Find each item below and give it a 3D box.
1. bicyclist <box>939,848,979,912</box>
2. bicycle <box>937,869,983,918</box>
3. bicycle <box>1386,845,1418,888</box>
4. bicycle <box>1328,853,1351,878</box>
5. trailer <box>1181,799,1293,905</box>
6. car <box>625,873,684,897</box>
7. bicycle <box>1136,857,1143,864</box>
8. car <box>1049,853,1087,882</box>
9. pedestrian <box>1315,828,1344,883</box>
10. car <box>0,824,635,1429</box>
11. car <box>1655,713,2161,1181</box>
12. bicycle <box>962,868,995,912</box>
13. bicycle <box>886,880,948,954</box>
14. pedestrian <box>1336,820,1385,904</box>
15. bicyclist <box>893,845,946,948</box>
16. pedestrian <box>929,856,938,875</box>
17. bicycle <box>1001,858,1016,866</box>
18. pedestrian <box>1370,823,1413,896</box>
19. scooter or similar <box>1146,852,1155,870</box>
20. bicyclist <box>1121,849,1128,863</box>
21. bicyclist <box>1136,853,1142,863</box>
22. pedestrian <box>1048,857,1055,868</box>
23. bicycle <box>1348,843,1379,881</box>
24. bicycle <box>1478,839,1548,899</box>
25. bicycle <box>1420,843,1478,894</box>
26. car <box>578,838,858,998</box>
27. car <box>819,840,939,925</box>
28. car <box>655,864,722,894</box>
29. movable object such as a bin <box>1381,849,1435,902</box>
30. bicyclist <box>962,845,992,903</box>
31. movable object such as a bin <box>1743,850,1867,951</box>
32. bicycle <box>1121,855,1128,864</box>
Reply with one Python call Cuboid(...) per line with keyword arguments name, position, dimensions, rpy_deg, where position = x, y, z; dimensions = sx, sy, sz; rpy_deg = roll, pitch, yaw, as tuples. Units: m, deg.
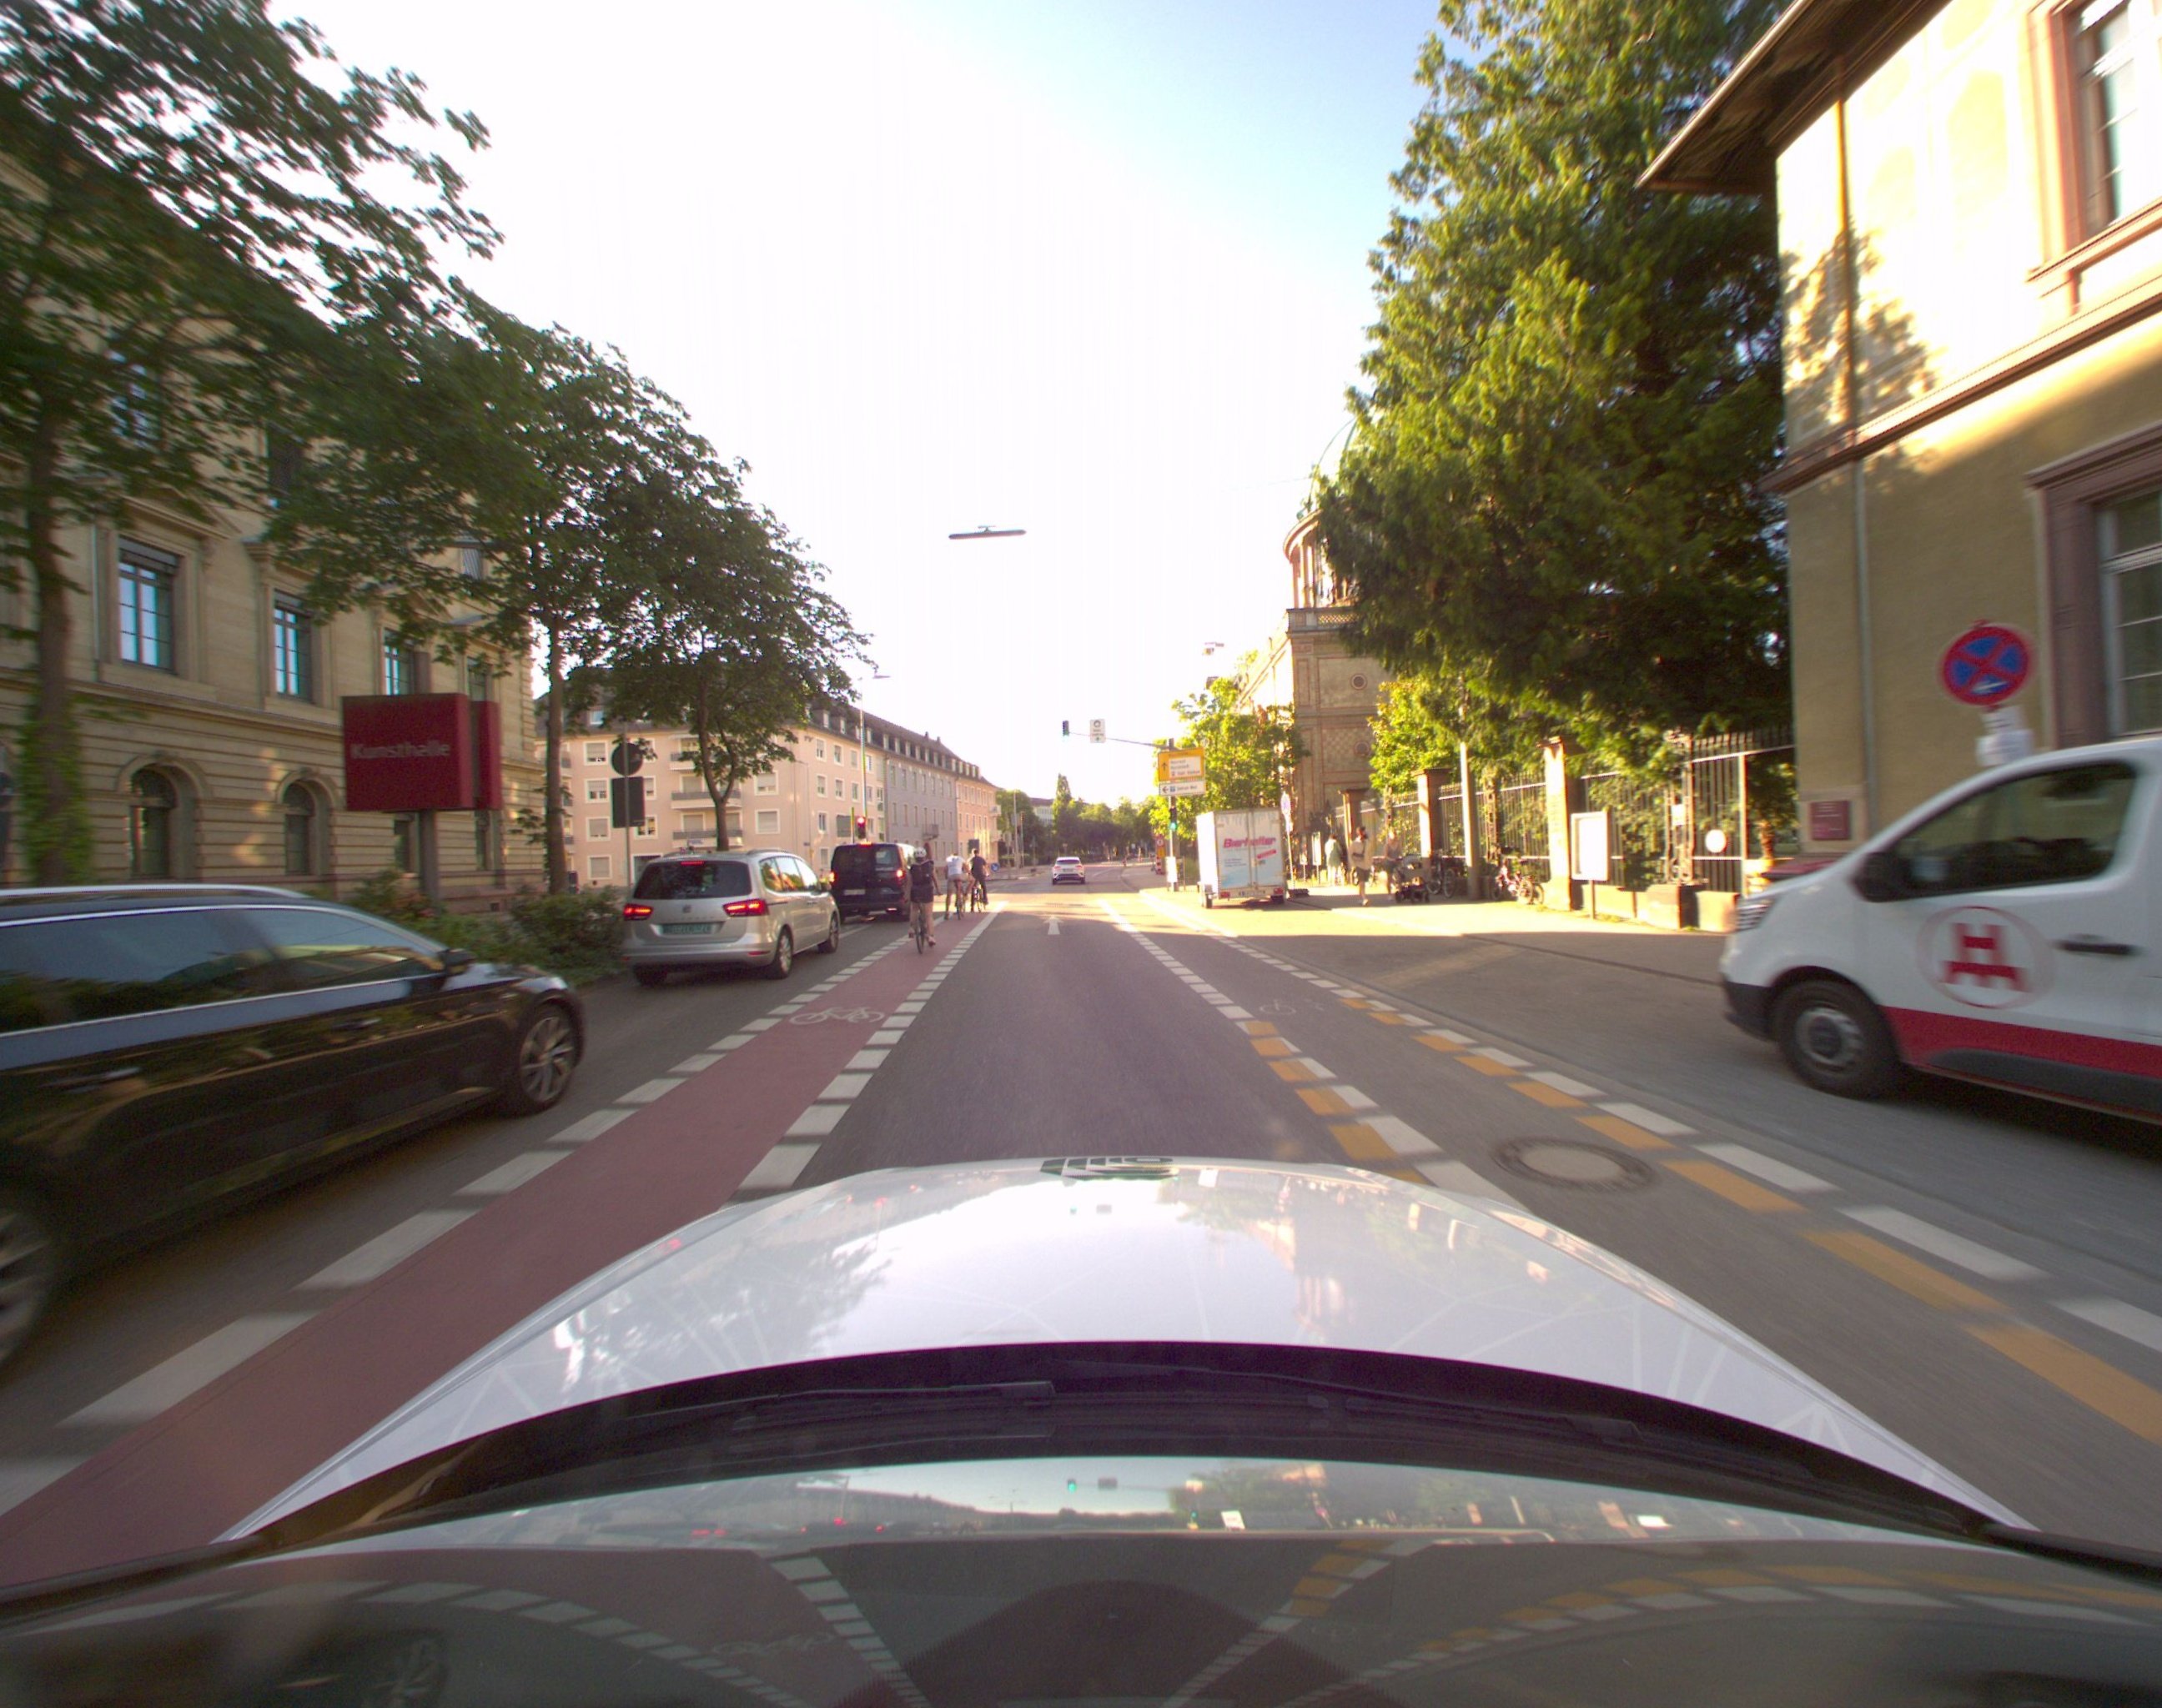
Cuboid(name="bicyclist", position=(-3.153, 0.659, 21.097), dimensions=(0.800, 1.608, 0.825), rpy_deg=(-3, 0, 0))
Cuboid(name="bicycle", position=(-3.129, 1.007, 21.220), dimensions=(0.826, 1.143, 1.970), rpy_deg=(-2, 0, 1))
Cuboid(name="bicycle", position=(8.826, 0.328, 22.451), dimensions=(0.273, 1.105, 1.533), rpy_deg=(-5, 0, 3))
Cuboid(name="bicycle", position=(8.840, 0.387, 27.845), dimensions=(0.263, 0.793, 1.451), rpy_deg=(-3, 0, -1))
Cuboid(name="trailer", position=(4.239, -0.074, 22.876), dimensions=(2.073, 2.528, 4.491), rpy_deg=(-5, 0, 0))
Cuboid(name="car", position=(-27.908, 2.000, 53.480), dimensions=(1.600, 1.310, 4.002), rpy_deg=(-3, 0, 2))
Cuboid(name="bicycle", position=(8.682, 0.992, 120.999), dimensions=(0.747, 1.026, 1.876), rpy_deg=(-2, -1, 14))
Cuboid(name="car", position=(-0.725, 0.745, 45.796), dimensions=(1.988, 1.453, 3.998), rpy_deg=(-3, 0, -1))
Cuboid(name="pedestrian", position=(8.252, 0.050, 27.065), dimensions=(0.637, 1.768, 0.738), rpy_deg=(-3, 0, 1))
Cuboid(name="car", position=(-4.076, 0.797, 3.426), dimensions=(1.990, 1.657, 4.729), rpy_deg=(-3, 0, -4))
Cuboid(name="car", position=(5.496, 0.363, 3.320), dimensions=(2.012, 1.945, 5.469), rpy_deg=(-1, 0, -7))
Cuboid(name="bicycle", position=(-2.958, 1.009, 23.621), dimensions=(0.640, 1.155, 2.077), rpy_deg=(-2, 0, 1))
Cuboid(name="bicycle", position=(-2.710, 1.012, 13.634), dimensions=(0.667, 1.072, 1.752), rpy_deg=(-2, 0, -1))
Cuboid(name="pedestrian", position=(6.569, 0.175, 19.170), dimensions=(0.714, 1.894, 0.888), rpy_deg=(-4, 0, -4))
Cuboid(name="bicyclist", position=(-2.715, 0.697, 13.757), dimensions=(0.670, 1.652, 0.887), rpy_deg=(-2, 0, -2))
Cuboid(name="pedestrian", position=(-15.070, 1.180, 83.251), dimensions=(0.628, 1.846, 1.015), rpy_deg=(0, 0, 6))
Cuboid(name="bicycle", position=(-11.249, 1.257, 126.525), dimensions=(2.304, 1.230, 0.562), rpy_deg=(-3, 0, 13))
Cuboid(name="pedestrian", position=(7.530, 0.136, 19.775), dimensions=(0.681, 1.701, 0.693), rpy_deg=(-4, 0, -3))
Cuboid(name="scooter or similar", position=(5.326, 0.504, 62.126), dimensions=(0.552, 1.308, 1.835), rpy_deg=(-3, 0, 6))
Cuboid(name="bicyclist", position=(5.071, 0.248, 94.792), dimensions=(0.632, 1.614, 1.286), rpy_deg=(-2, 0, 7))
Cuboid(name="bicyclist", position=(8.659, 0.585, 121.007), dimensions=(0.742, 1.537, 0.973), rpy_deg=(-2, 0, 14))
Cuboid(name="pedestrian", position=(-5.167, 1.473, 141.276), dimensions=(0.850, 1.851, 1.005), rpy_deg=(-3, 0, 12))
Cuboid(name="bicycle", position=(8.711, 0.243, 25.164), dimensions=(0.397, 1.105, 1.682), rpy_deg=(-5, 0, 3))
Cuboid(name="bicycle", position=(8.973, 0.296, 16.984), dimensions=(0.417, 1.156, 1.826), rpy_deg=(-5, 0, 1))
Cuboid(name="bicycle", position=(8.677, 0.328, 19.278), dimensions=(0.394, 1.130, 1.927), rpy_deg=(-3, 0, -2))
Cuboid(name="car", position=(-4.872, 0.734, 11.868), dimensions=(1.986, 1.749, 4.744), rpy_deg=(-3, 0, -2))
Cuboid(name="car", position=(-5.280, 0.699, 22.043), dimensions=(2.063, 1.915, 5.028), rpy_deg=(-3, 0, -2))
Cuboid(name="car", position=(-25.644, 1.626, 53.364), dimensions=(1.986, 1.686, 4.616), rpy_deg=(-3, 0, 1))
Cuboid(name="movable object such as a bin", position=(7.591, 0.482, 18.941), dimensions=(0.710, 1.117, 1.049), rpy_deg=(-5, 1, -4))
Cuboid(name="bicyclist", position=(-2.994, 0.570, 23.600), dimensions=(0.668, 1.608, 0.825), rpy_deg=(-3, 0, 0))
Cuboid(name="movable object such as a bin", position=(8.371, 0.522, 9.438), dimensions=(0.866, 1.073, 0.571), rpy_deg=(-4, 0, -1))
Cuboid(name="bicycle", position=(5.078, 0.667, 94.834), dimensions=(0.639, 1.024, 2.217), rpy_deg=(-1, 0, 7))
